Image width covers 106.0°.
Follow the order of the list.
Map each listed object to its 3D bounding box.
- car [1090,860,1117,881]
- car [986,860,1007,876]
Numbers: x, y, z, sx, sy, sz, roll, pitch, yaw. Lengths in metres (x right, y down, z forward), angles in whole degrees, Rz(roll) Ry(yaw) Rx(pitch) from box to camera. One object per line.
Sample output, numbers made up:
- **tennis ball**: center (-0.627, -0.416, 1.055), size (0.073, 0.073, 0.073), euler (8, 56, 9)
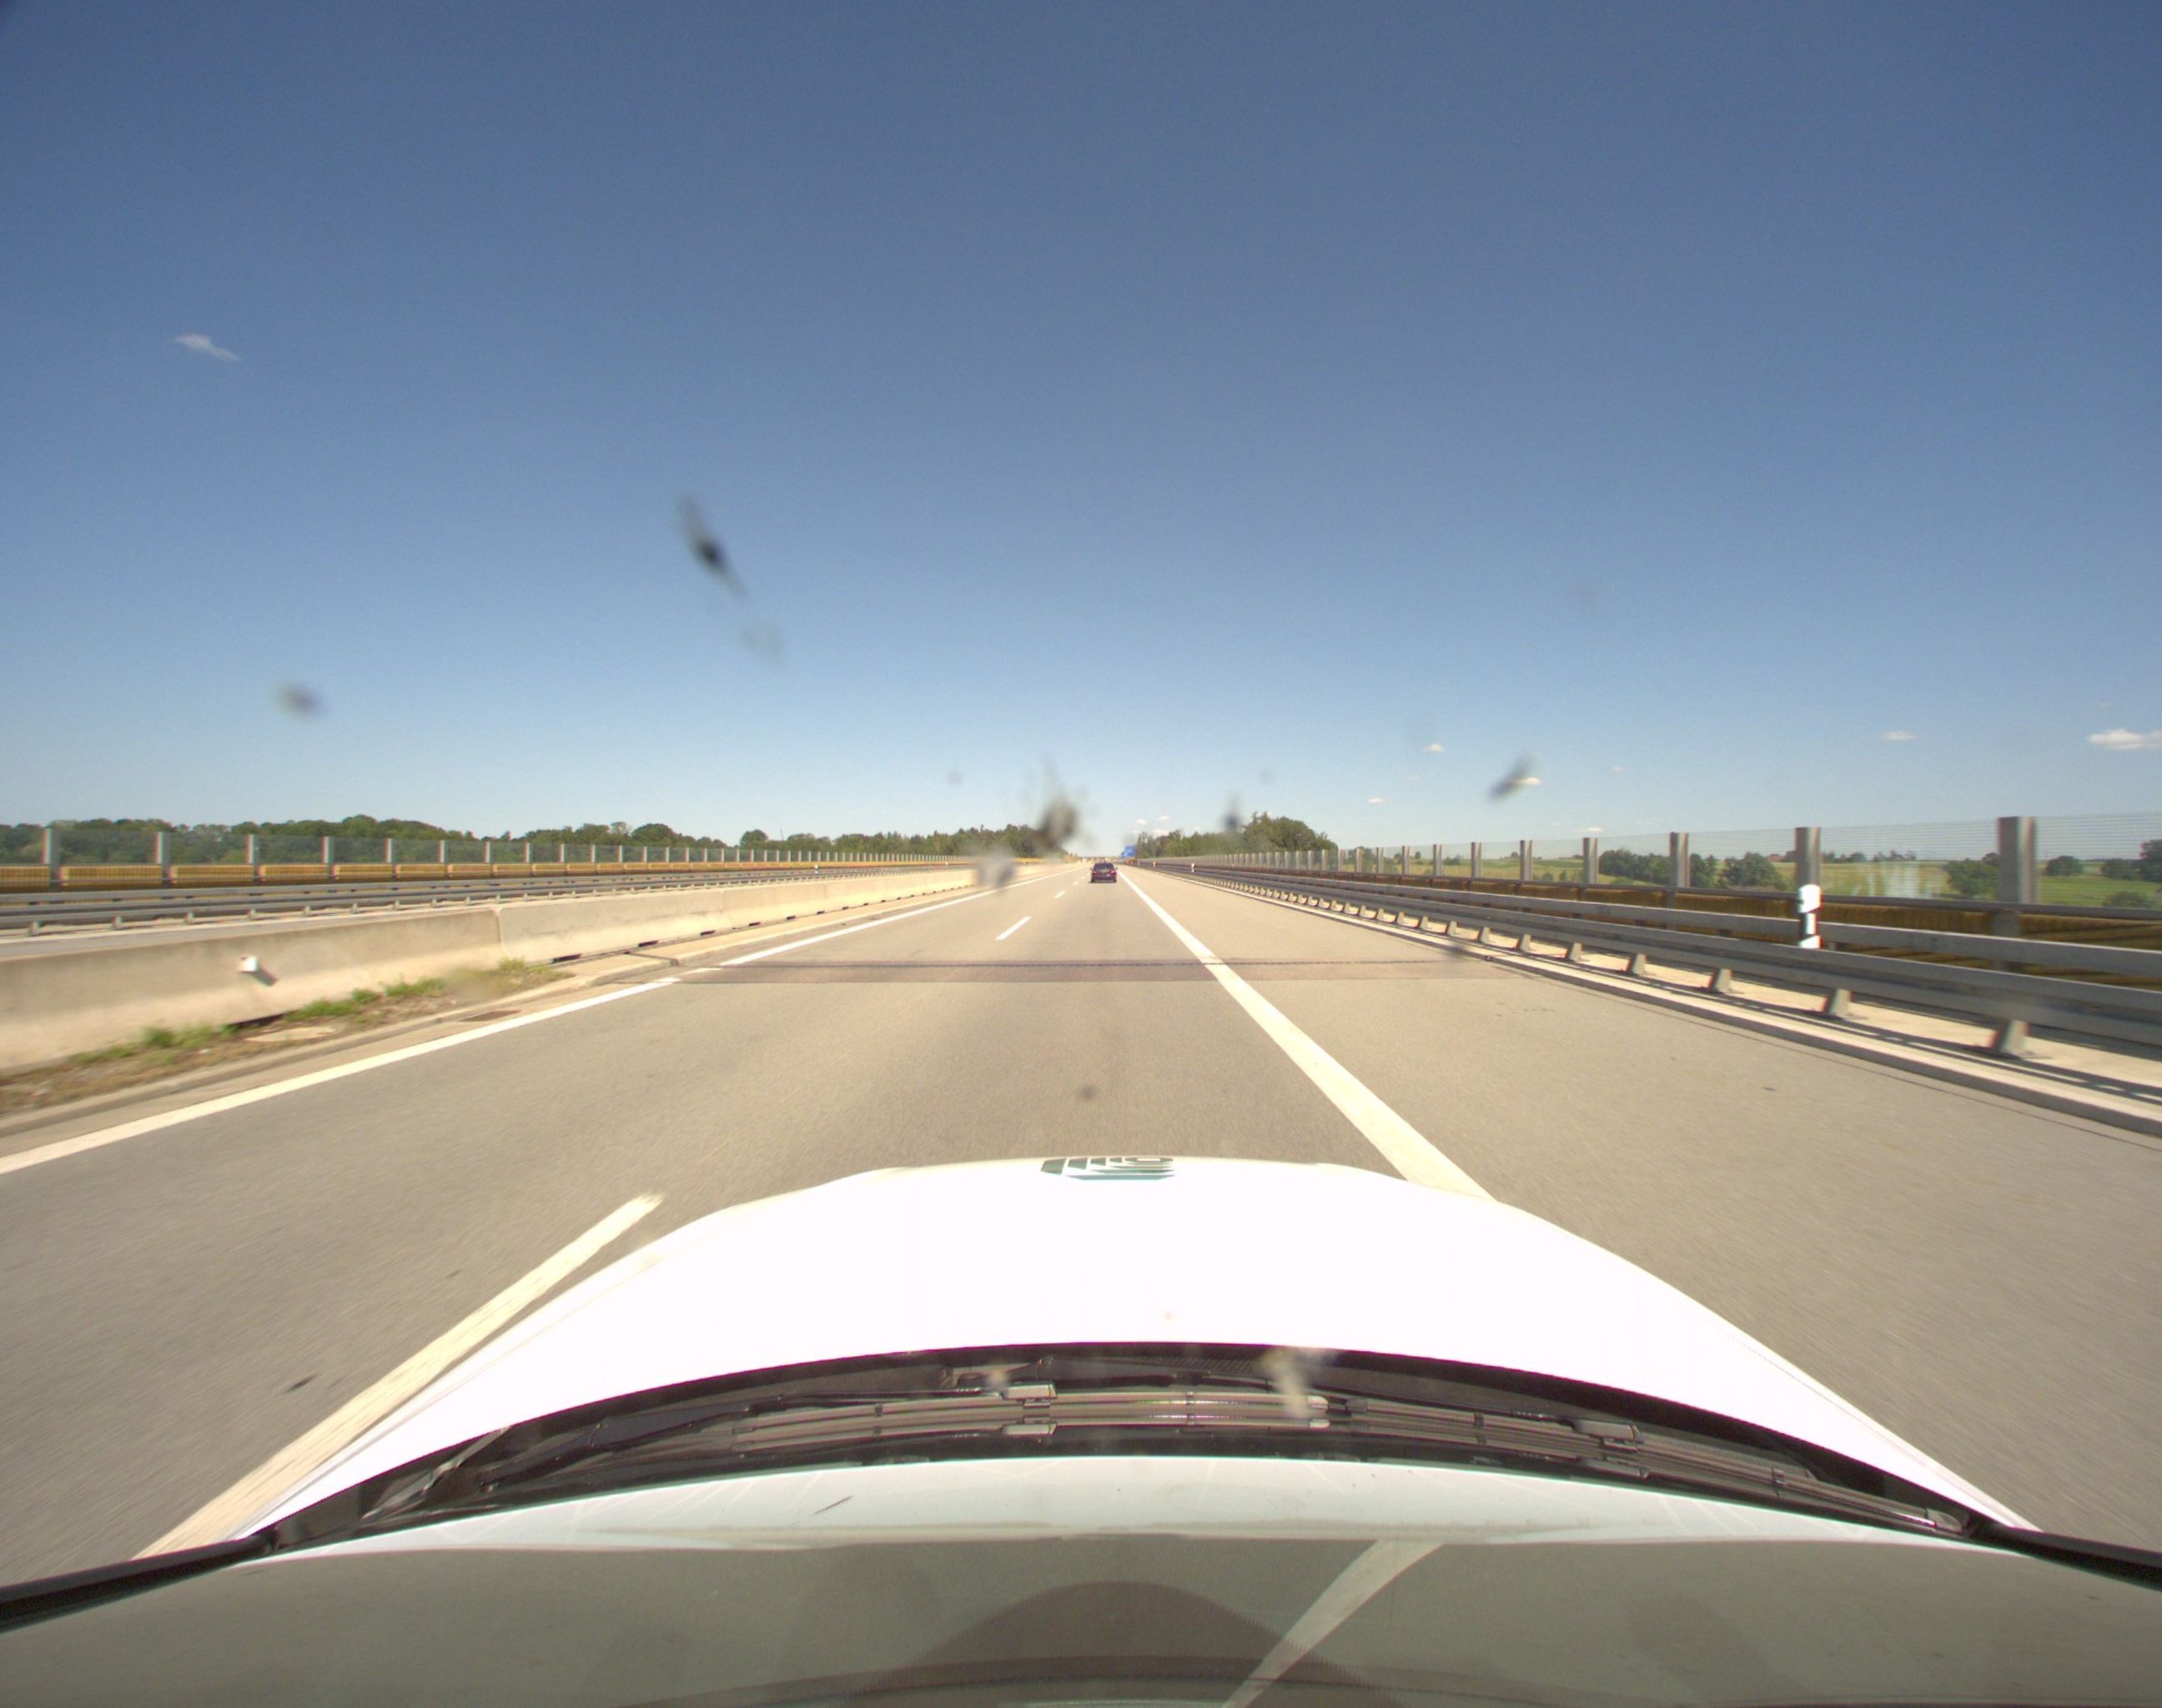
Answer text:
- **car**: center (1.602, 1.147, 56.277), size (1.783, 1.374, 3.918), euler (0, 0, 2)
- **car**: center (-11.168, 1.795, 107.551), size (1.985, 2.014, 4.764), euler (0, -1, 3)
